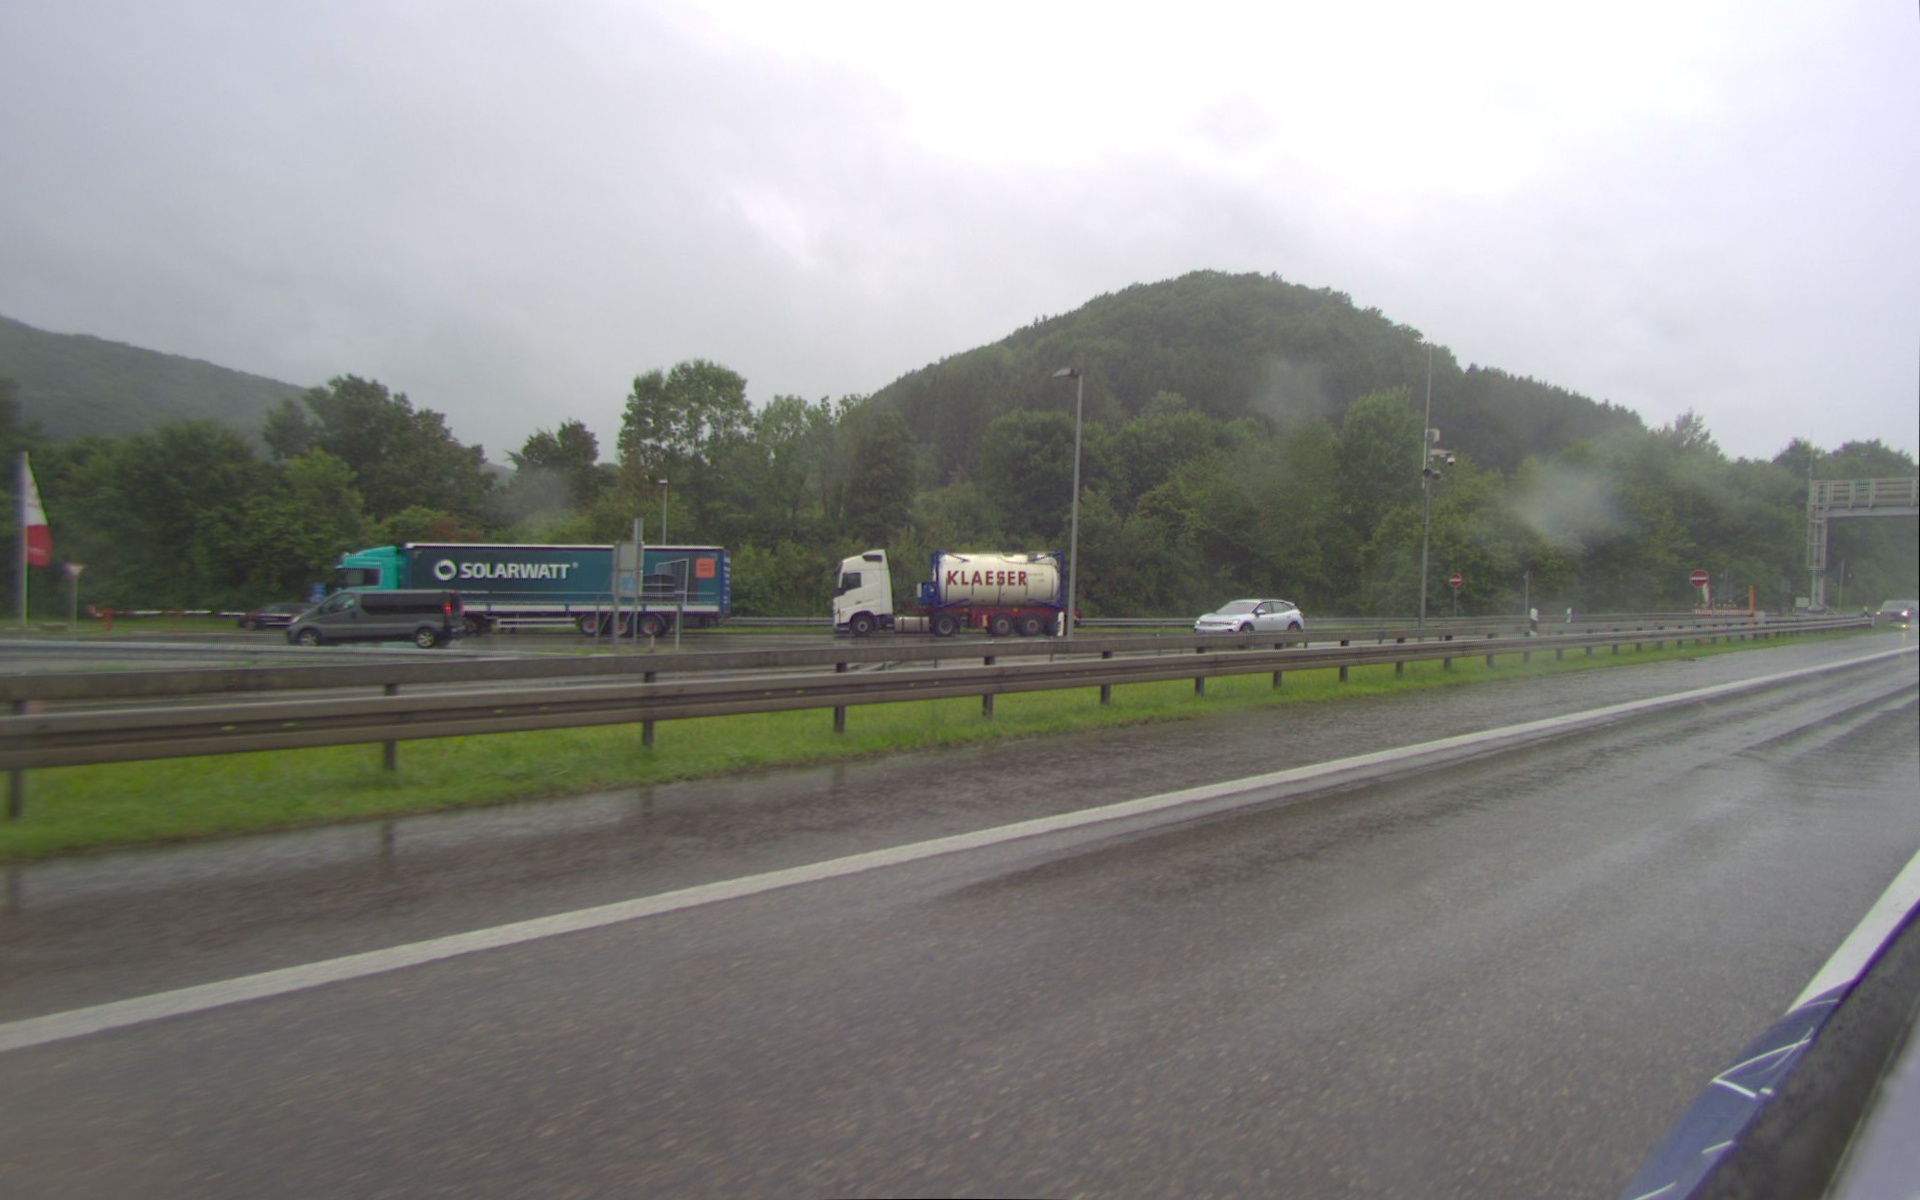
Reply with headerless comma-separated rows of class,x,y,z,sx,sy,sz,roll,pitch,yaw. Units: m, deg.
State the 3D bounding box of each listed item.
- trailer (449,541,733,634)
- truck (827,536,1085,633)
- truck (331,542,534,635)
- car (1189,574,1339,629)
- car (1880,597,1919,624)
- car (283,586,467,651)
trailer,-16.133,-0.558,45.023,11.512,3.950,2.797,0,0,-6
truck,-0.295,-0.730,46.842,11.630,4.310,2.883,0,0,-7
truck,-22.898,-0.514,44.252,7.382,3.916,2.760,0,0,-6
car,10.629,0.040,35.213,5.555,1.772,2.000,0,0,-35
car,73.069,0.800,78.465,3.926,2.039,1.860,0,0,-37
car,-19.155,0.587,33.408,4.948,2.039,2.004,0,0,-18
